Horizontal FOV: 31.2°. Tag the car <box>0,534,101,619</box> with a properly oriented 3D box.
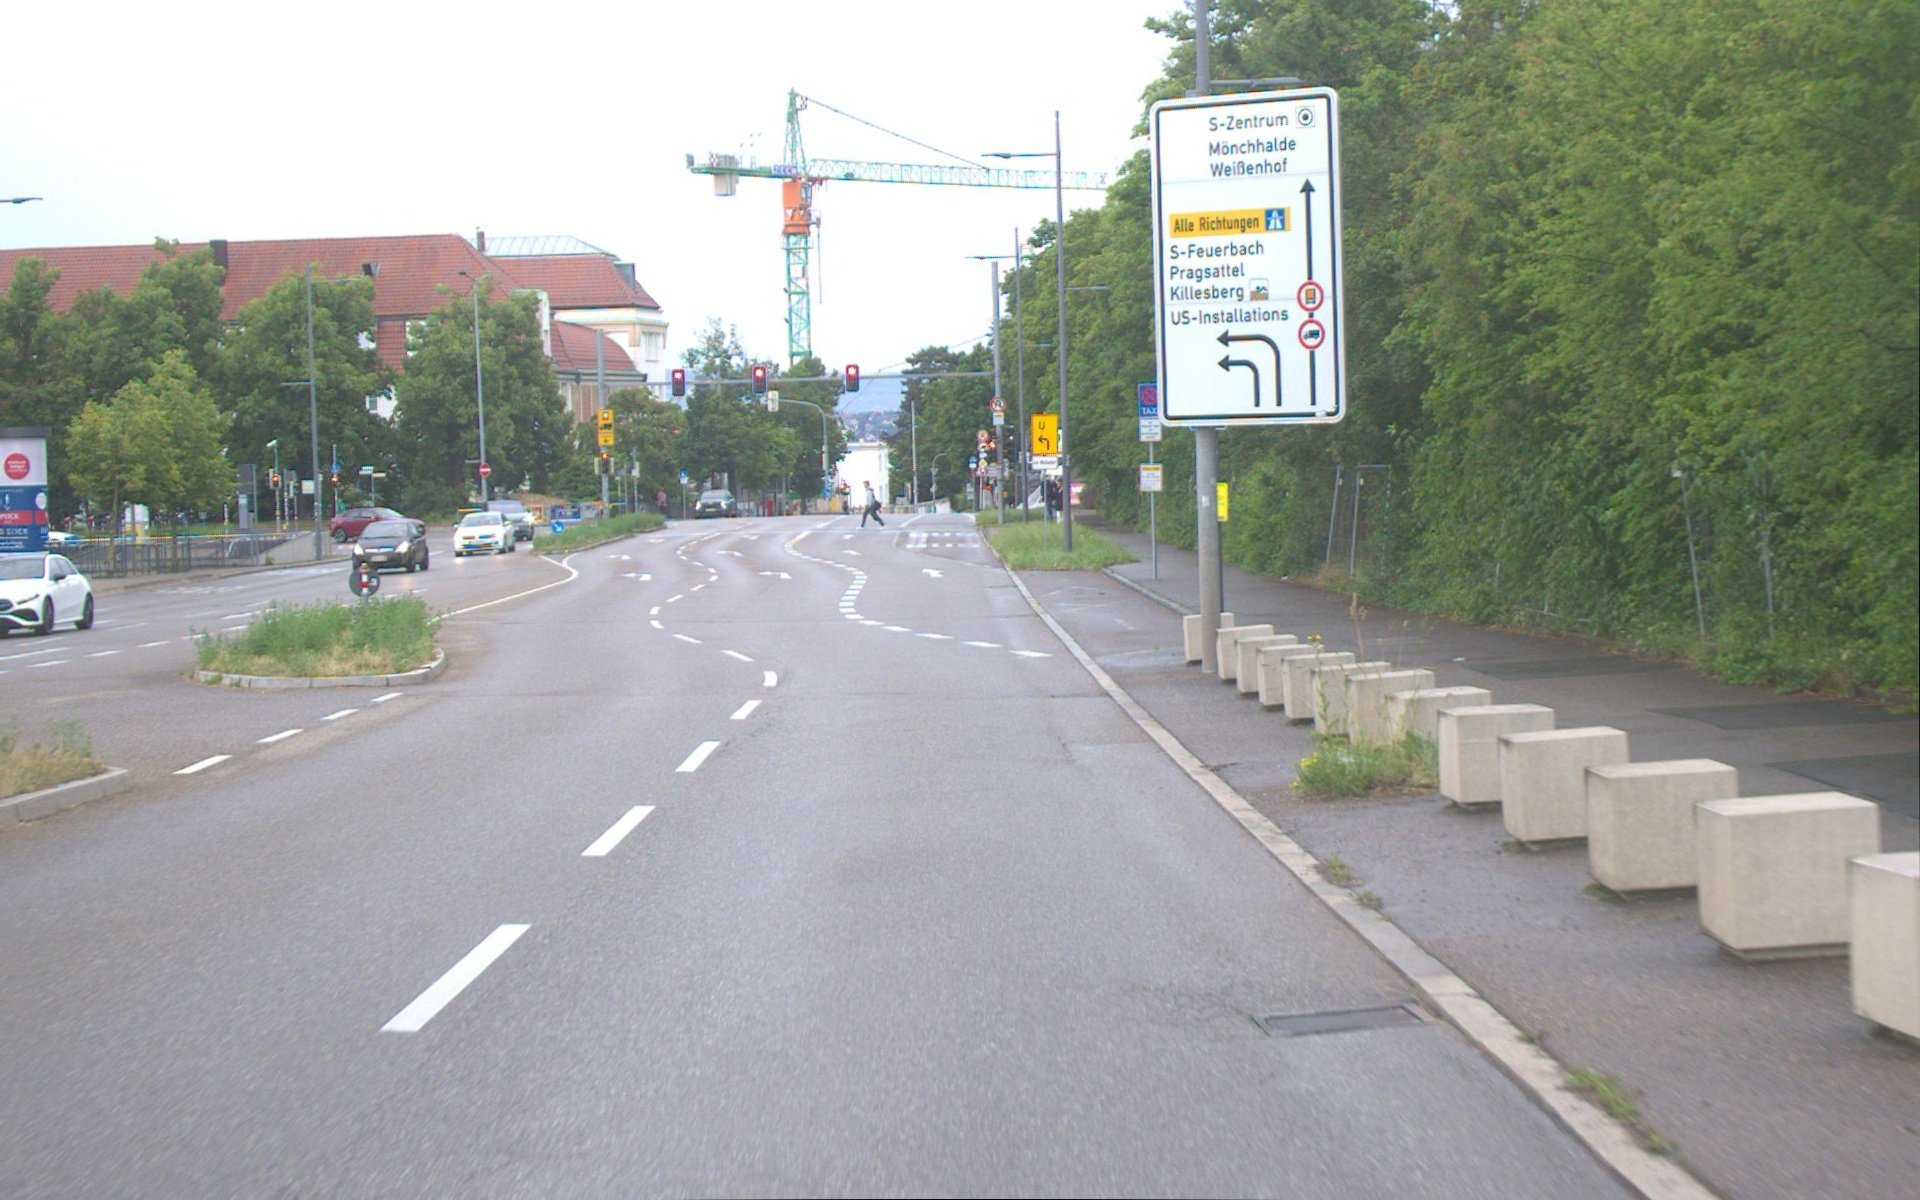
[{"bbox_3d":[-16.956,-0.430,61.641,1.993,1.413,4.513,-1,2,0],"label":"car"}]

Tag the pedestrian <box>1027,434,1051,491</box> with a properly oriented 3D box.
[{"bbox_3d":[2.666,-4.627,115.884,0.640,1.894,0.718,-2,3,-6],"label":"pedestrian"}]

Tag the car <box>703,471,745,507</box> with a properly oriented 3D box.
[{"bbox_3d":[-12.677,-5.957,185.084,1.993,1.831,4.000,0,1,0],"label":"car"}]

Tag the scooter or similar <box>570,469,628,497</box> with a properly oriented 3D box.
[{"bbox_3d":[-19.818,-6.421,188.697,3.087,1.435,0.949,-2,3,-2],"label":"scooter or similar"}]

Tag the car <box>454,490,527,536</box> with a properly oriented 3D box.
[{"bbox_3d":[-16.138,-2.992,118.253,1.873,1.425,4.176,-4,2,0],"label":"car"}]

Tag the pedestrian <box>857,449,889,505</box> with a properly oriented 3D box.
[{"bbox_3d":[-3.252,-4.600,128.776,0.940,2.006,0.847,-4,2,5],"label":"pedestrian"}]

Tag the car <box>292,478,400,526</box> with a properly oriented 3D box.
[{"bbox_3d":[-26.015,-4.133,145.618,3.991,1.910,1.998,-1,2,22],"label":"car"}]

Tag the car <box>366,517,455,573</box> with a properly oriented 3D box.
[{"bbox_3d":[-15.477,-1.571,97.006,1.846,1.457,3.867,-3,2,0],"label":"car"}]
